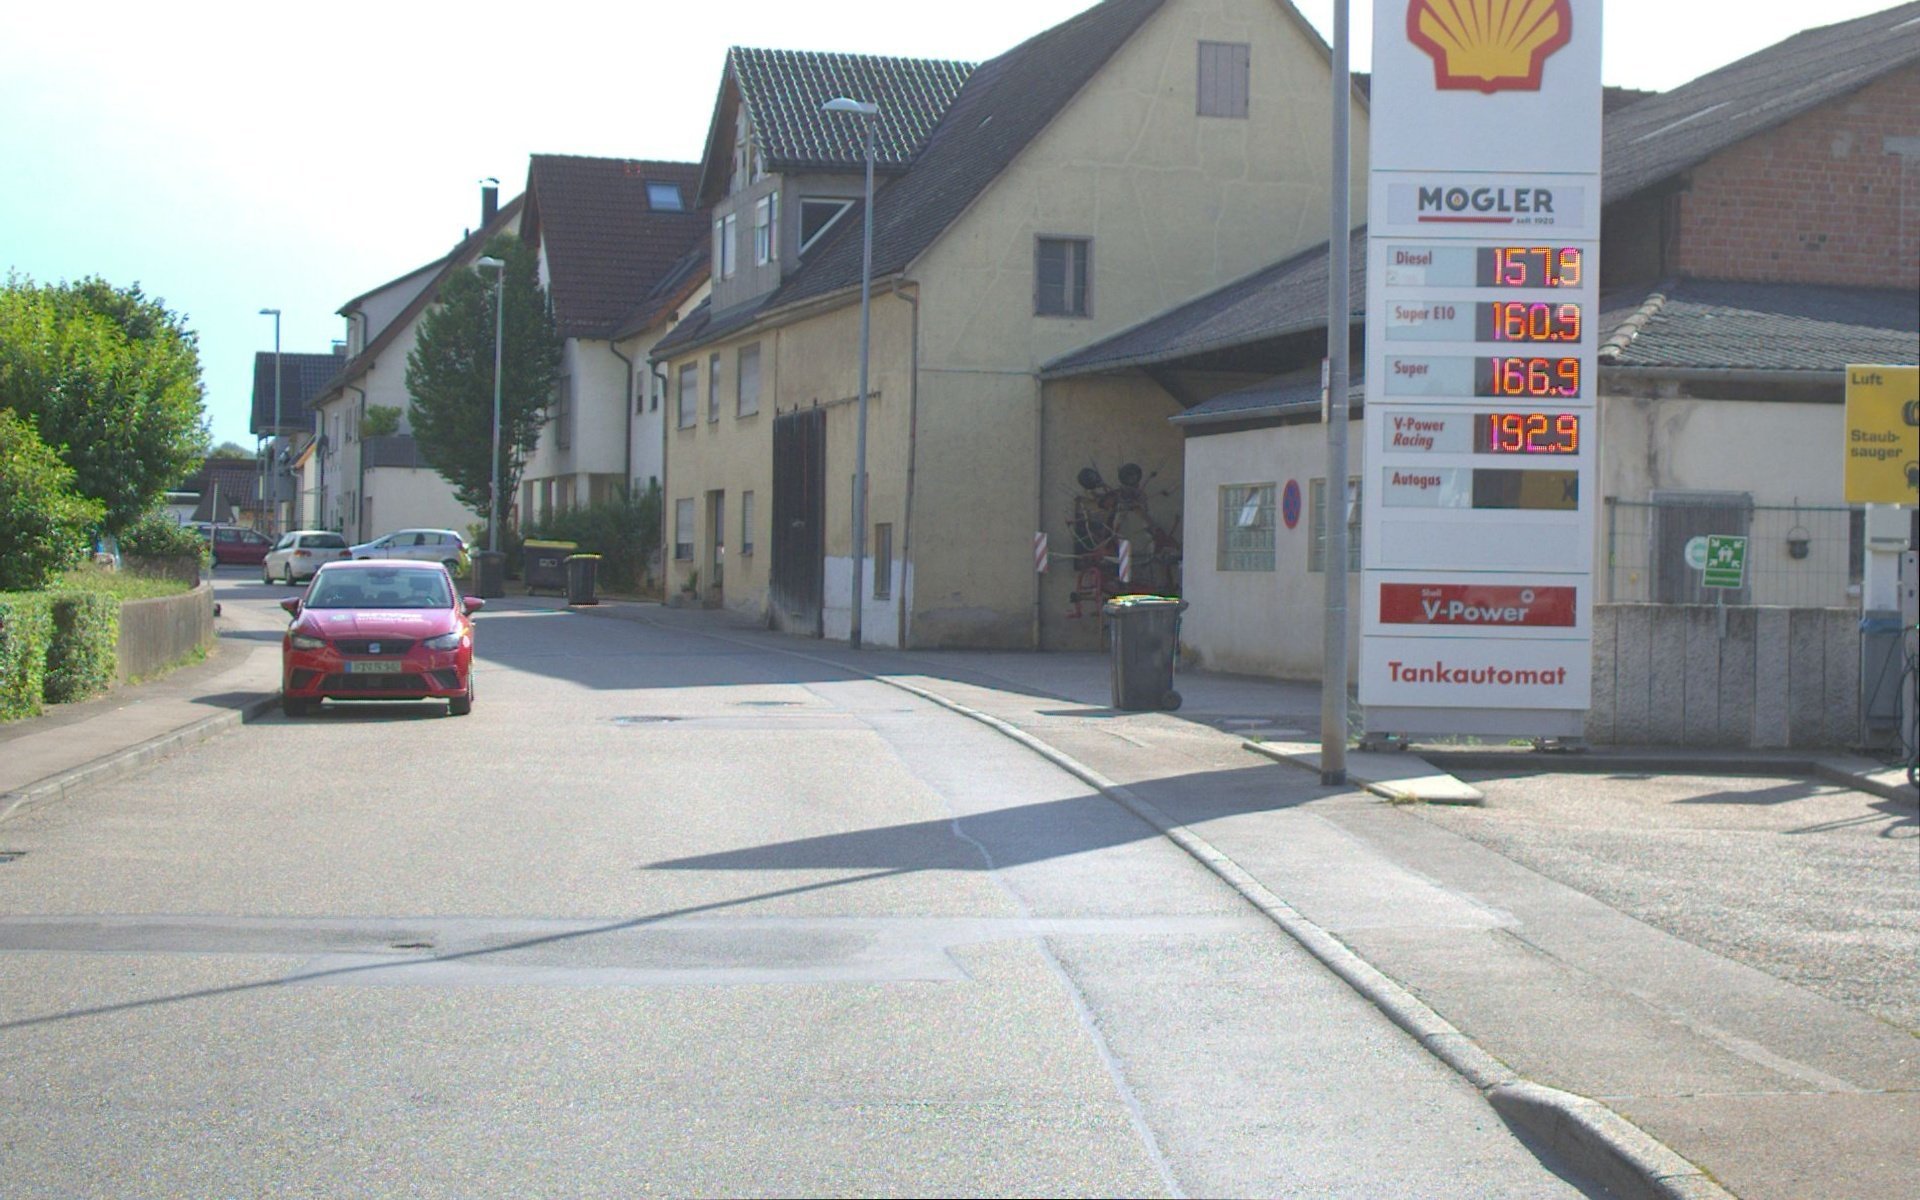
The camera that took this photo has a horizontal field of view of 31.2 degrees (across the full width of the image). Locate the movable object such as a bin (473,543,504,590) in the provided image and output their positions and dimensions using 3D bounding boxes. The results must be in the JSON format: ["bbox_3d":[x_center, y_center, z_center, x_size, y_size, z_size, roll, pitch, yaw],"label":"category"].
[{"bbox_3d":[-11.001,-0.787,80.202,0.652,1.070,0.513,1,1,-16],"label":"movable object such as a bin"}]

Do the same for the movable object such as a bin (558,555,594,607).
[{"bbox_3d":[-8.031,-0.402,71.813,0.652,1.070,0.513,1,1,-16],"label":"movable object such as a bin"}]

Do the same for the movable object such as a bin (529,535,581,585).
[{"bbox_3d":[-9.666,-0.959,81.988,1.160,1.164,0.655,1,1,-12],"label":"movable object such as a bin"}]

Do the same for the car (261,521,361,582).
[{"bbox_3d":[-17.468,-1.324,92.421,1.704,1.573,4.001,1,1,-24],"label":"car"}]

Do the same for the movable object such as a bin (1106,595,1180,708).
[{"bbox_3d":[1.783,0.498,33.525,0.653,1.070,0.513,1,1,-3],"label":"movable object such as a bin"}]

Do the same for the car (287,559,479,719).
[{"bbox_3d":[-5.494,0.339,33.029,1.708,1.430,3.781,0,0,-8],"label":"car"}]

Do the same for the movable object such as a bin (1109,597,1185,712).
[{"bbox_3d":[1.794,0.518,32.978,0.653,1.070,0.513,1,1,-3],"label":"movable object such as a bin"}]

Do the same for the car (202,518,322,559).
[{"bbox_3d":[-24.529,-2.157,120.828,3.986,1.348,1.711,1,1,-15],"label":"car"}]

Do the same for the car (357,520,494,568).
[{"bbox_3d":[-15.901,-1.654,102.302,3.986,1.348,1.711,1,1,-9],"label":"car"}]
